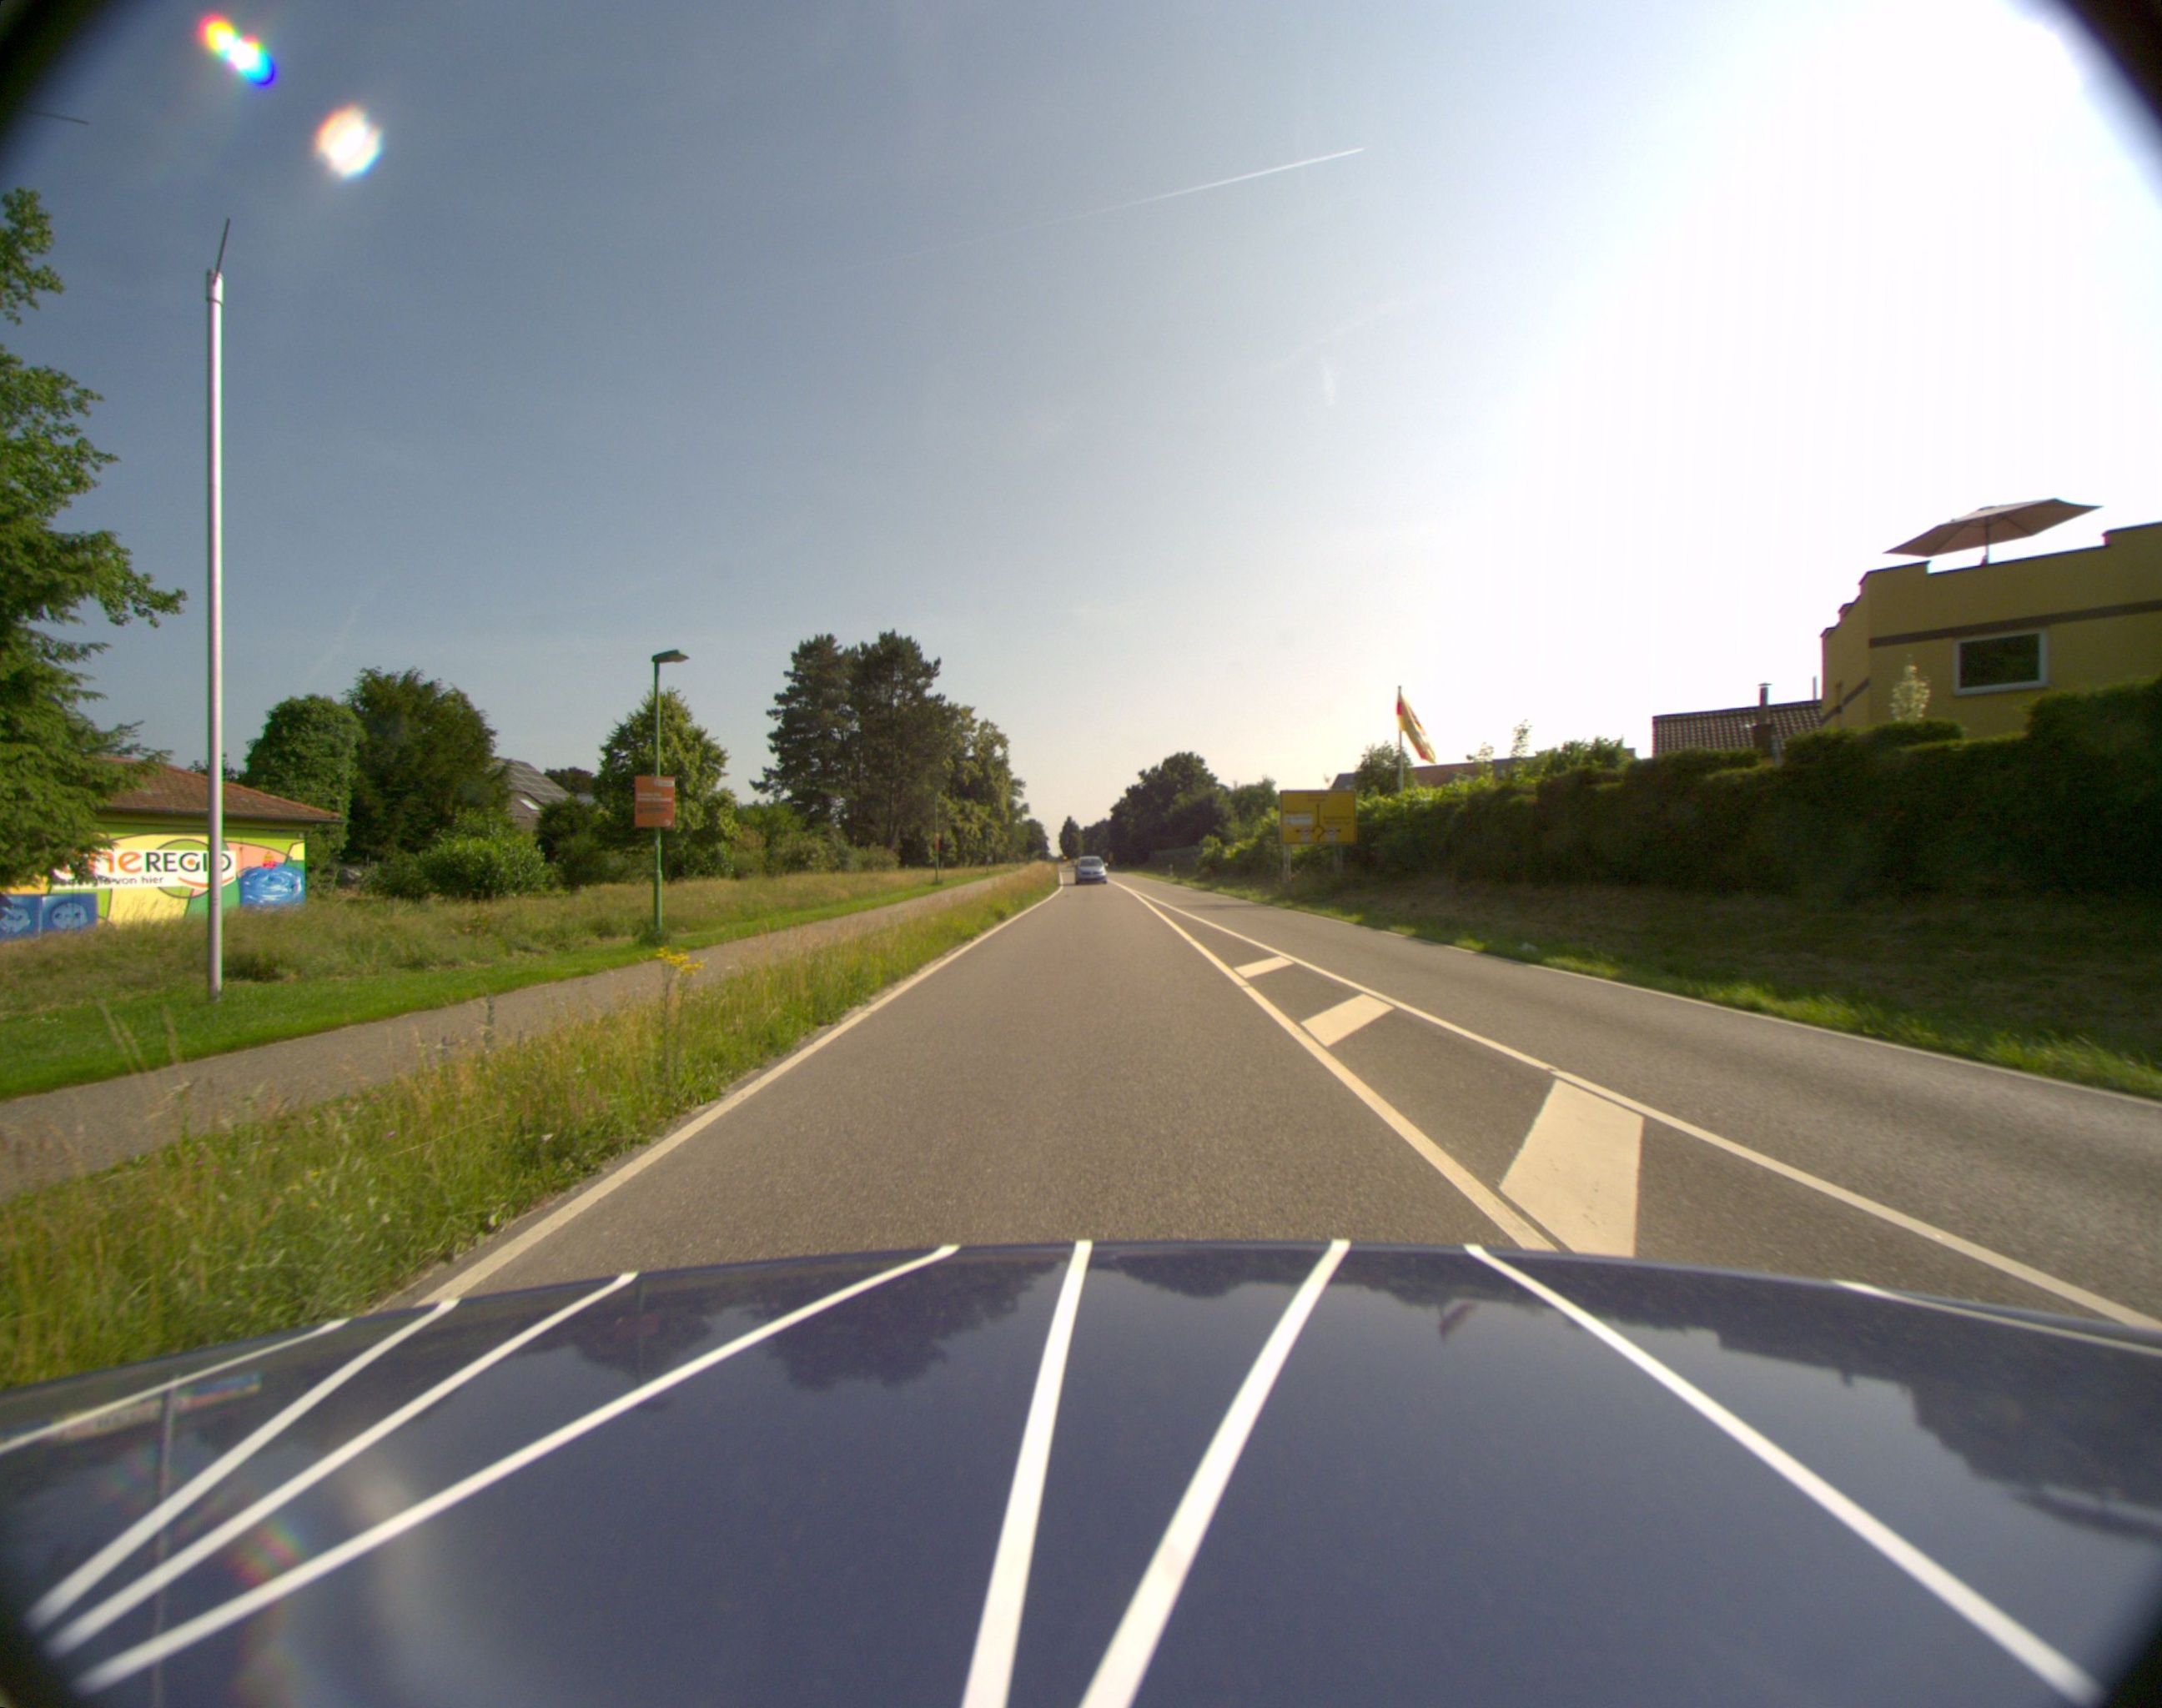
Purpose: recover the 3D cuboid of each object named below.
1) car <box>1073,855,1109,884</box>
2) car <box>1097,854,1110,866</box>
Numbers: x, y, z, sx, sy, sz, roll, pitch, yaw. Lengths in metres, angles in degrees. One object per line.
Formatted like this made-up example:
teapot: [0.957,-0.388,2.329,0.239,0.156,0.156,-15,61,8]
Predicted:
car: [0.526,0.856,43.896,1.809,1.592,4.269,-1,0,-2]
car: [3.528,0.994,121.557,1.944,1.807,4.242,1,0,1]
